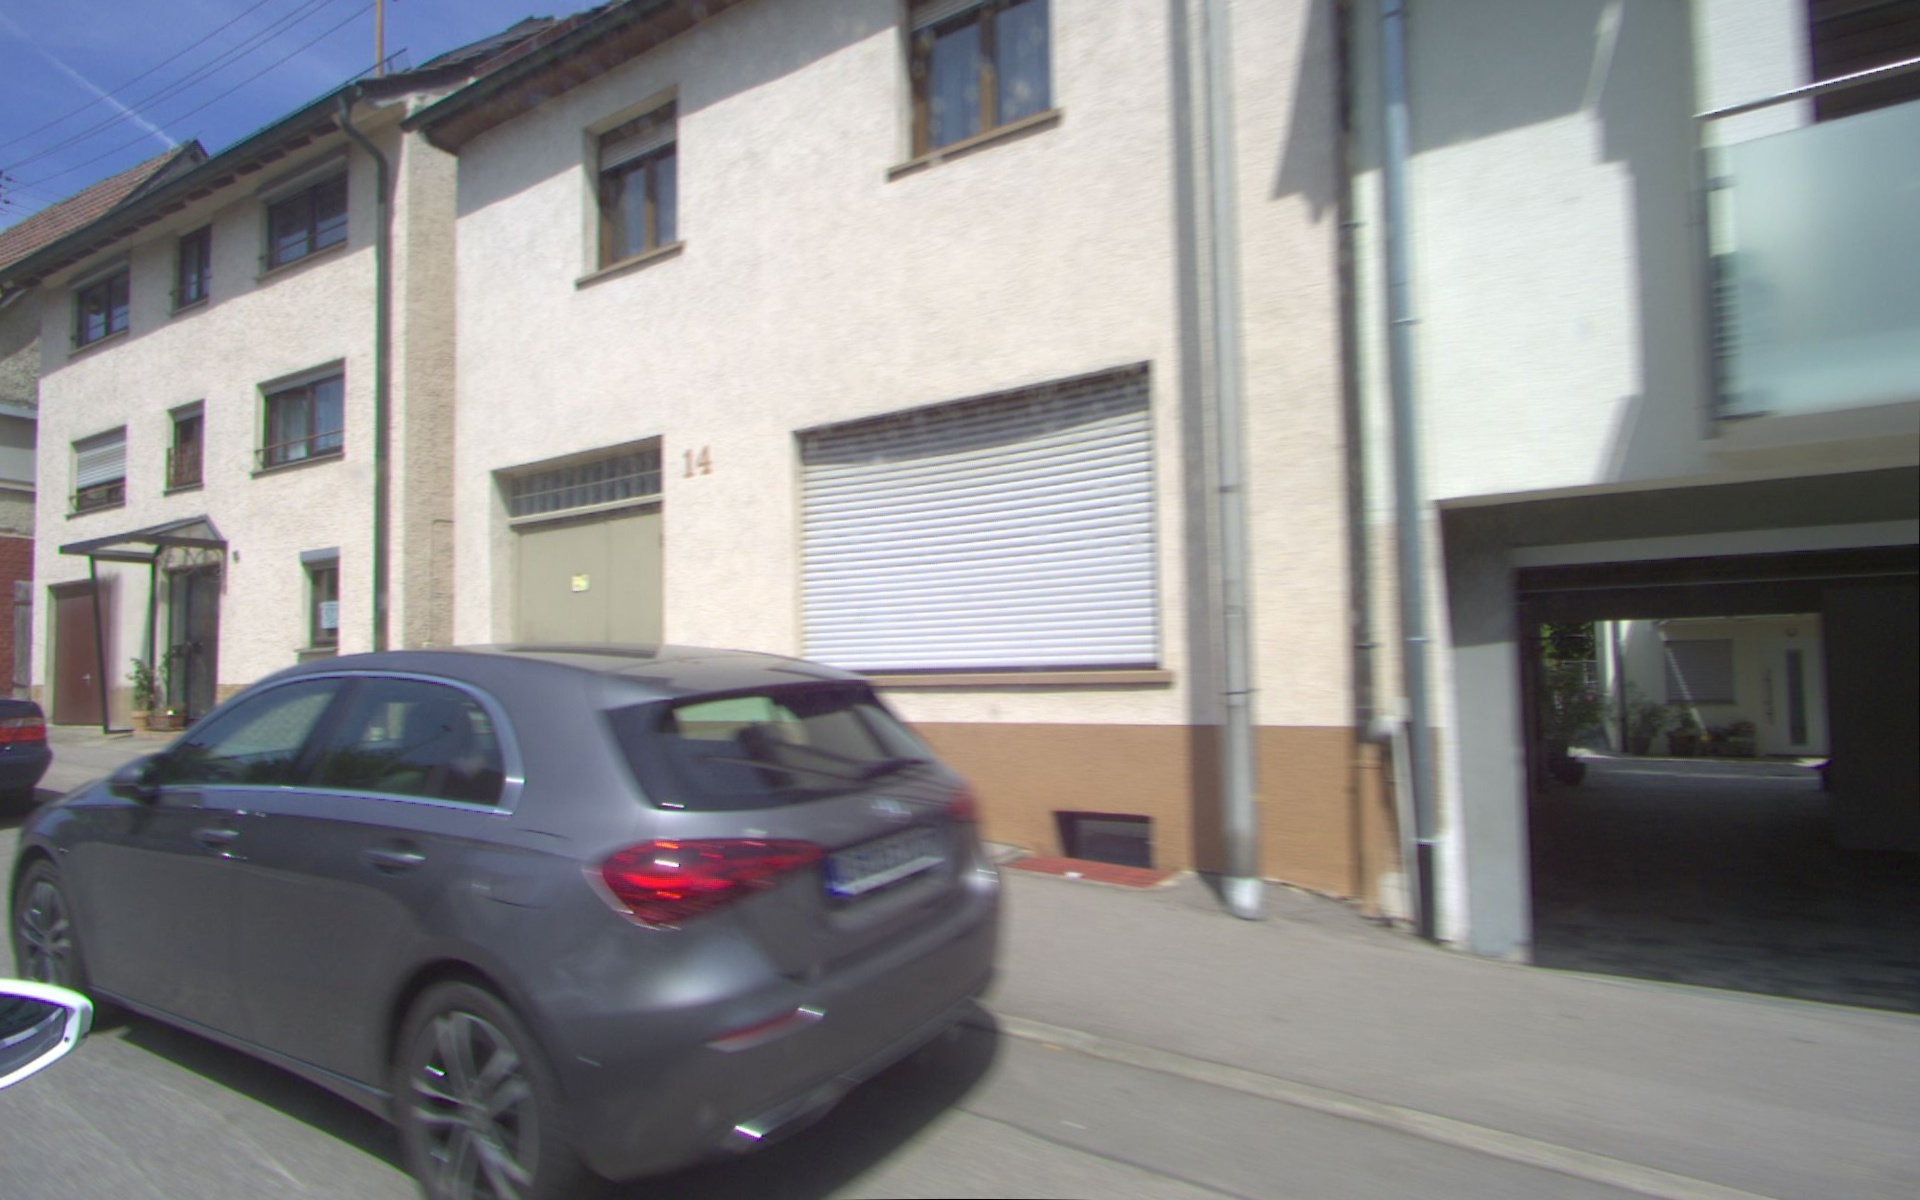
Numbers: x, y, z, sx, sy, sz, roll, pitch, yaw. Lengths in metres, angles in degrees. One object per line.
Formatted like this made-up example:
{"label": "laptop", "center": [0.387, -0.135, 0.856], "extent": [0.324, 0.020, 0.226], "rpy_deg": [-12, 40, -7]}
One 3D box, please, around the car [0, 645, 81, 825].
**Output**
{"label": "car", "center": [-9.285, 1.037, 8.291], "extent": [4.122, 1.369, 1.666], "rpy_deg": [-1, -3, 29]}

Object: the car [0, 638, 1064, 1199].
{"label": "car", "center": [-1.951, 0.865, 3.804], "extent": [4.347, 1.420, 1.791], "rpy_deg": [-1, -2, 31]}
